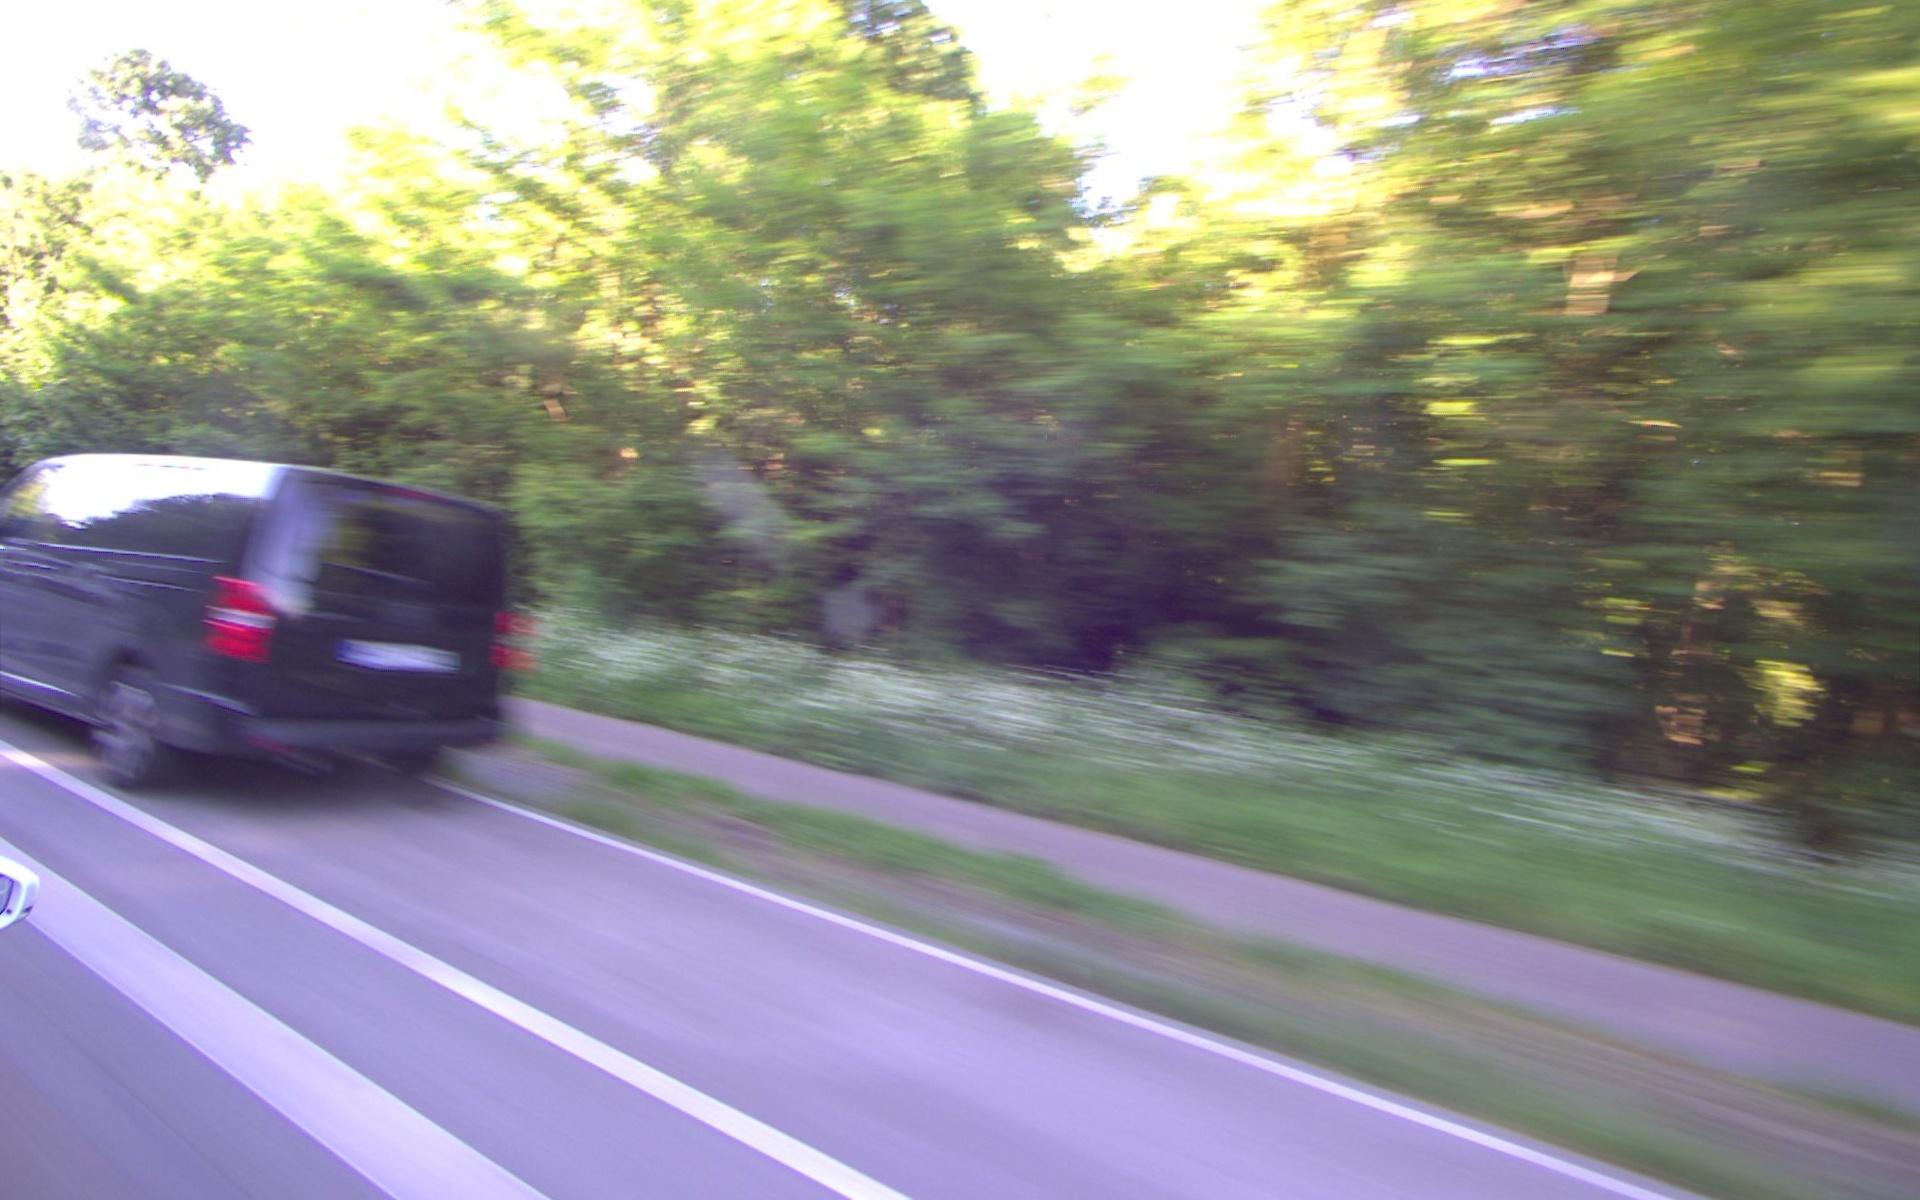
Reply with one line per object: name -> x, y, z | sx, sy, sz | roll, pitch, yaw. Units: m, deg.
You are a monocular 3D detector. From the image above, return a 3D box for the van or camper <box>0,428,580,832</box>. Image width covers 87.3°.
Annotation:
van or camper -> -5.288, 0.014, 7.094 | 5.113, 1.954, 1.998 | 7, -2, 32
